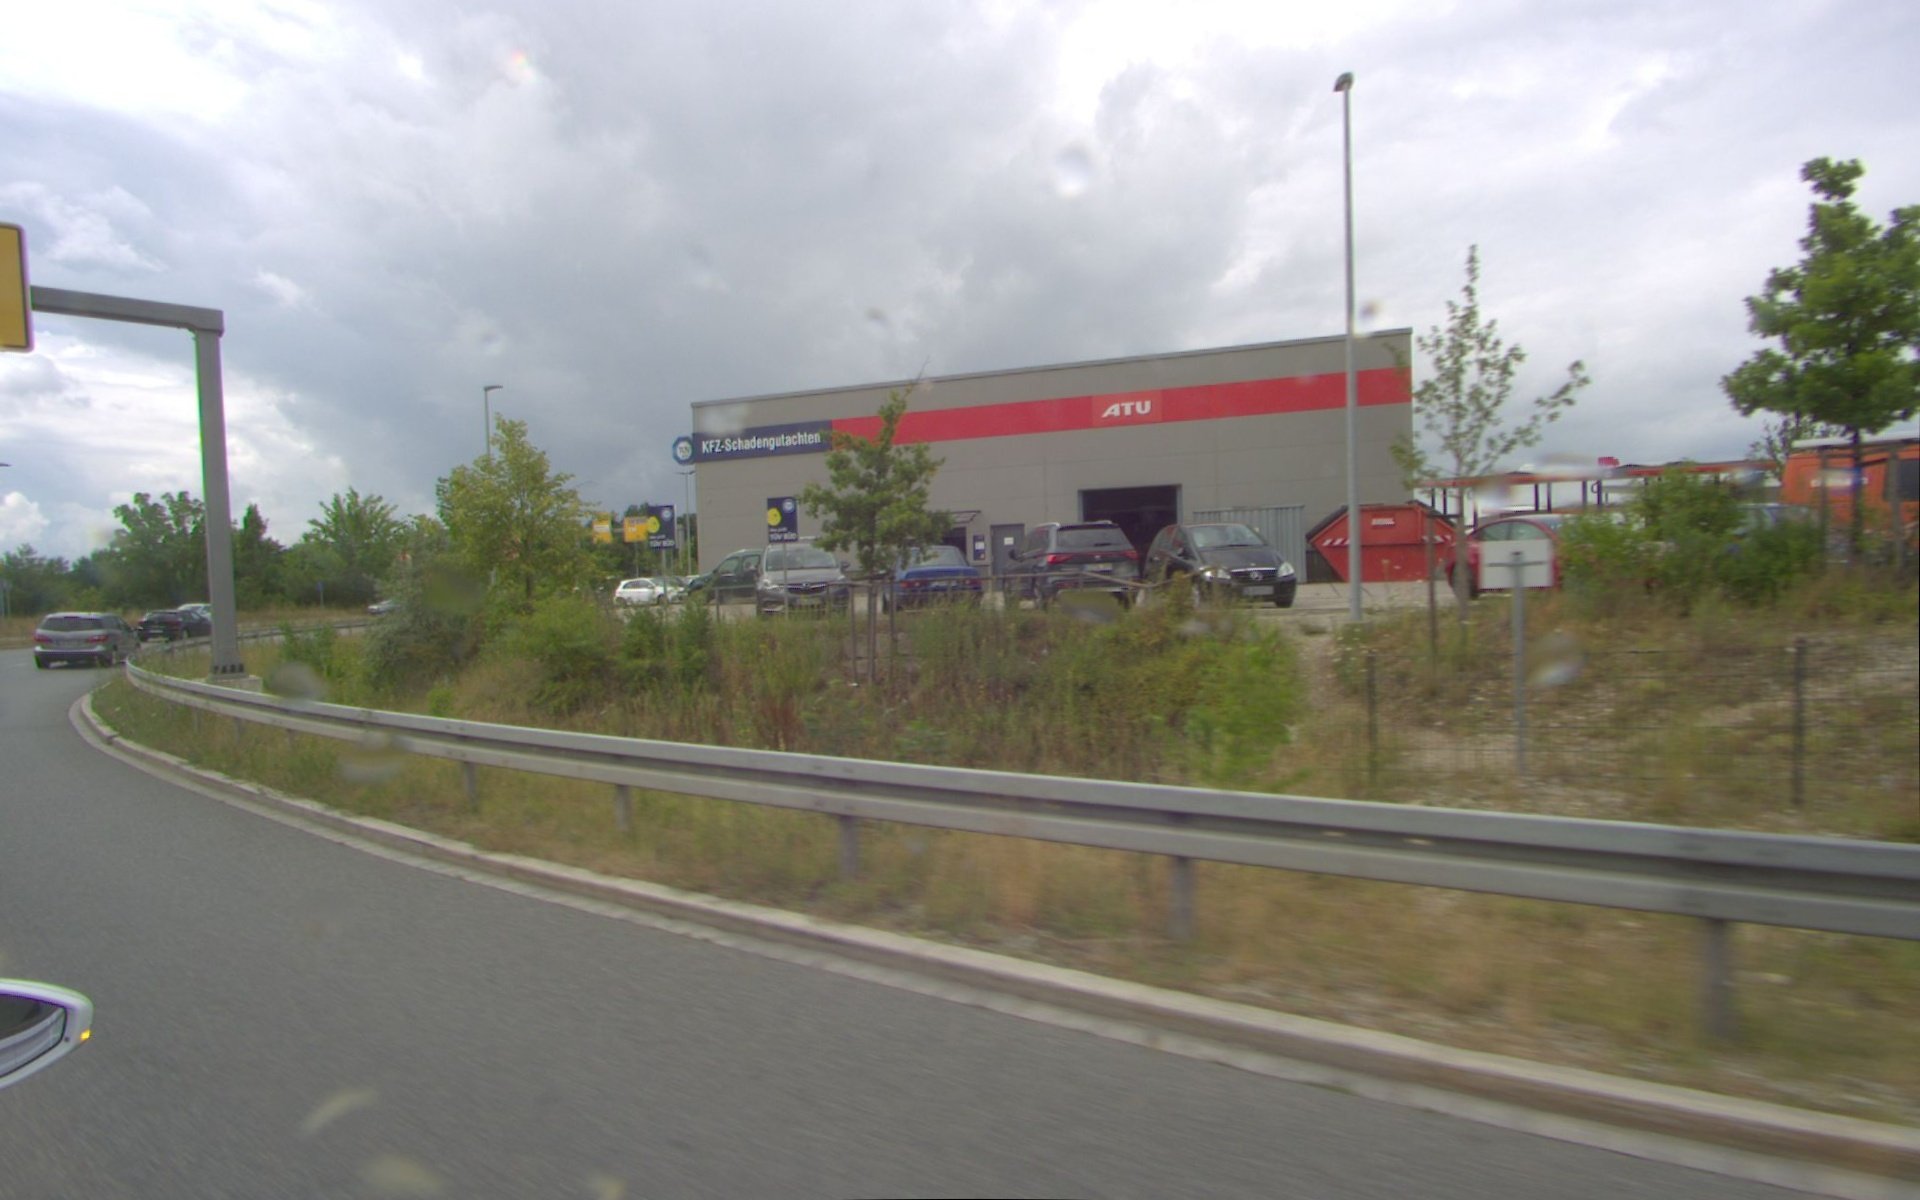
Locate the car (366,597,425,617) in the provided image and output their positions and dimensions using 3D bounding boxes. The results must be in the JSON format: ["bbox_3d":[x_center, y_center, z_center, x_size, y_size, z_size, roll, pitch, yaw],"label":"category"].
[{"bbox_3d":[-44.082,0.583,78.310,1.437,1.505,4.088,-1,-1,18],"label":"car"}]

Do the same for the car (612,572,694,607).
[{"bbox_3d":[-15.446,-0.531,50.447,3.564,1.559,1.640,-3,1,18],"label":"car"}]

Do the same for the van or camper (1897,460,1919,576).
[{"bbox_3d":[27.084,-2.232,24.817,2.447,3.222,7.723,-1,1,17],"label":"van or camper"}]

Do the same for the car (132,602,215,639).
[{"bbox_3d":[-35.849,0.932,45.771,1.843,1.626,3.726,0,-1,-19],"label":"car"}]

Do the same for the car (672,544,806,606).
[{"bbox_3d":[-7.237,-0.823,32.916,3.899,1.837,1.701,-1,3,17],"label":"car"}]

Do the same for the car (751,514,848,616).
[{"bbox_3d":[-3.426,-0.624,20.845,1.771,1.805,4.167,1,-2,-12],"label":"car"}]

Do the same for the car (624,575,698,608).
[{"bbox_3d":[-15.861,-0.462,53.148,3.385,1.657,1.728,-1,1,19],"label":"car"}]

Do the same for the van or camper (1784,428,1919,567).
[{"bbox_3d":[15.516,-1.599,14.980,1.784,2.023,4.661,-1,0,-23],"label":"van or camper"}]

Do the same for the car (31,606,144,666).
[{"bbox_3d":[-26.341,1.129,30.377,1.747,1.637,3.905,-2,-2,-29],"label":"car"}]

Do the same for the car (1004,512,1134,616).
[{"bbox_3d":[1.944,-0.583,18.866,1.490,1.674,3.733,0,-2,-9],"label":"car"}]

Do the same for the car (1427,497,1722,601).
[{"bbox_3d":[9.874,-0.734,16.621,1.671,1.418,4.587,-2,0,-7],"label":"car"}]

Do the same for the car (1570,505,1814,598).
[{"bbox_3d":[12.355,-0.806,17.167,1.472,1.401,3.303,-2,2,-9],"label":"car"}]

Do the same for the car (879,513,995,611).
[{"bbox_3d":[-0.564,-0.677,20.358,1.701,1.674,3.856,1,-2,-11],"label":"car"}]

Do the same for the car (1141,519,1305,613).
[{"bbox_3d":[4.724,-0.637,18.558,1.660,1.540,3.790,-1,2,-7],"label":"car"}]

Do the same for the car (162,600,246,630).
[{"bbox_3d":[-44.608,0.844,59.212,1.687,1.656,4.266,-1,0,0],"label":"car"}]
